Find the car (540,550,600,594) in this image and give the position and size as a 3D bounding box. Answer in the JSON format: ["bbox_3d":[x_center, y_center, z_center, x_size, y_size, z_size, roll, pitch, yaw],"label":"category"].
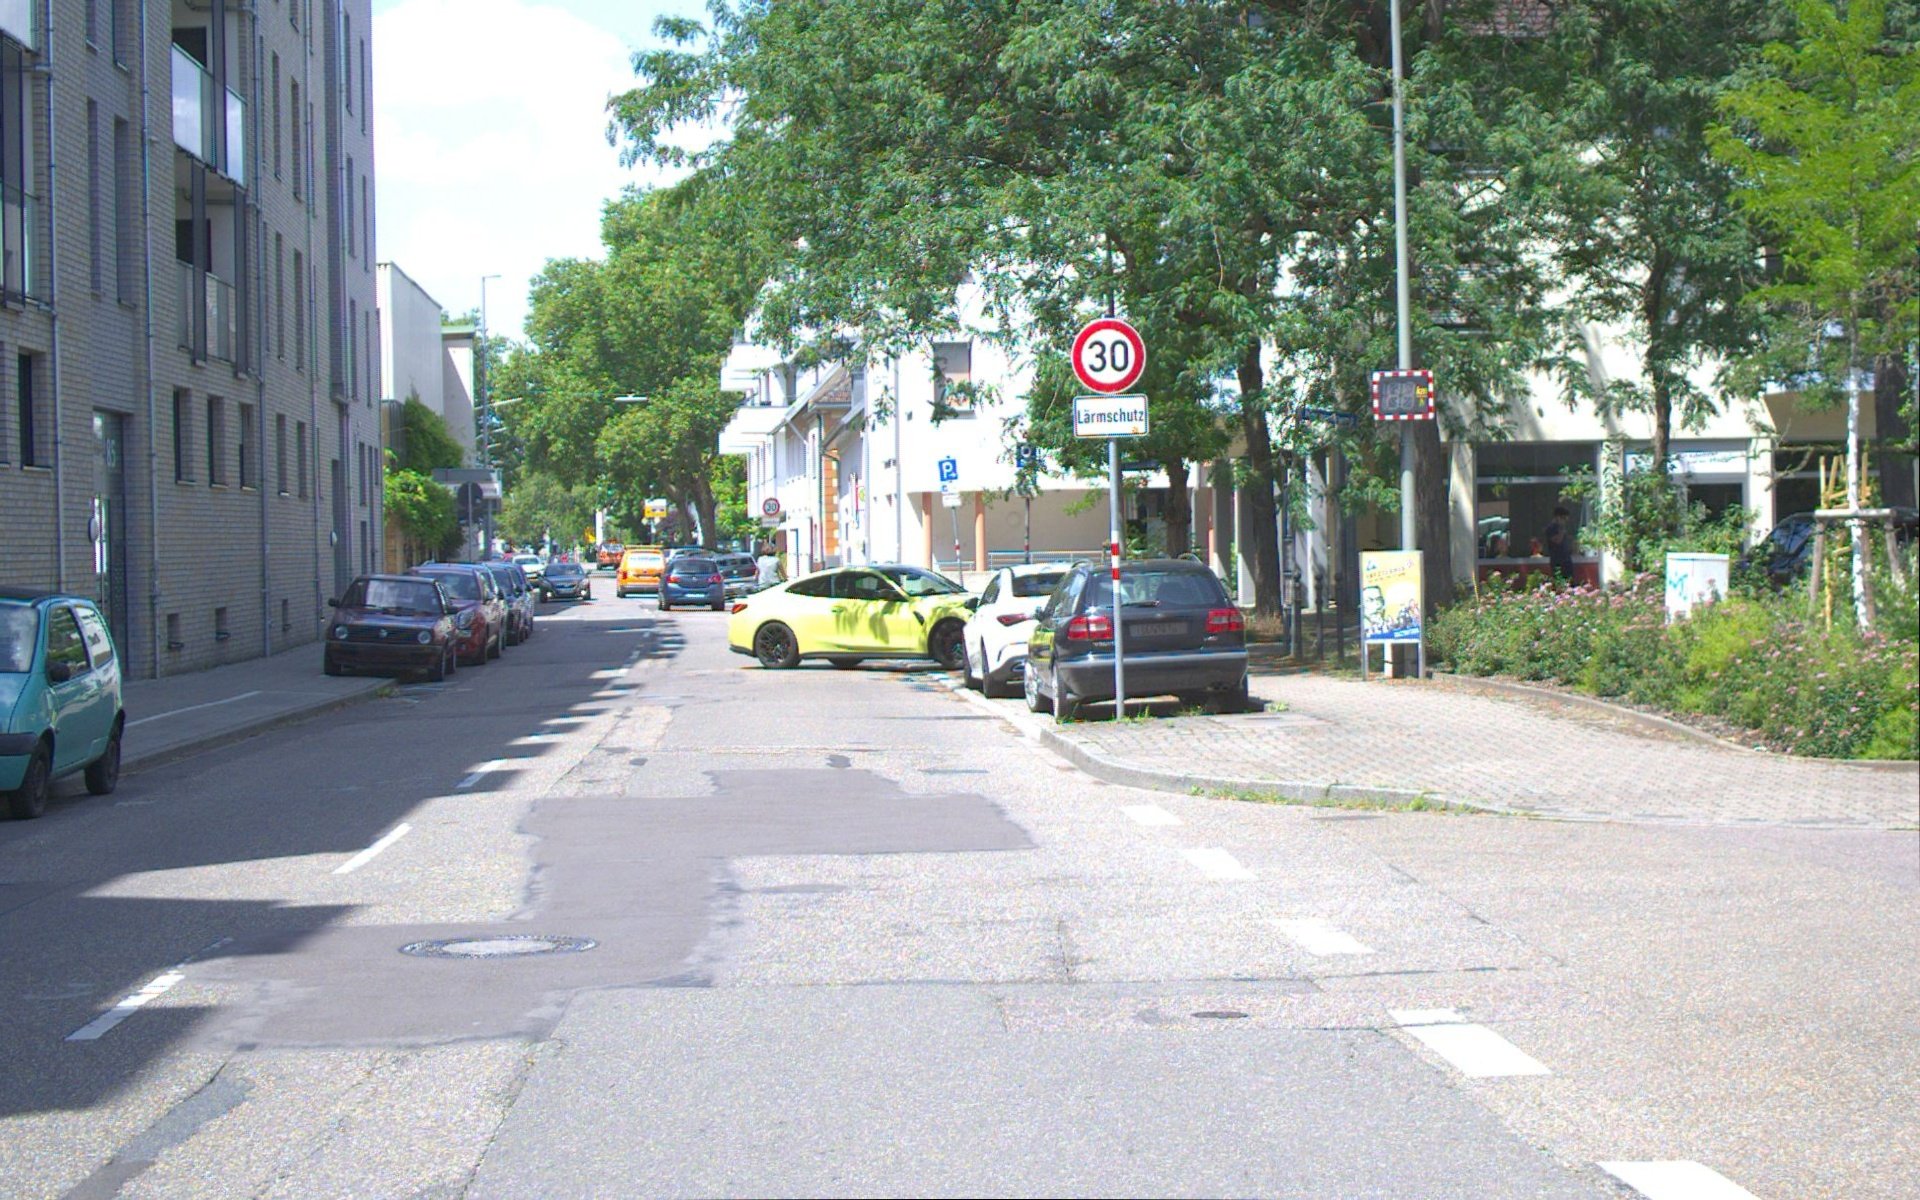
[{"bbox_3d":[-14.079,-1.035,124.279,1.993,1.514,4.001,-1,1,-5],"label":"car"}]

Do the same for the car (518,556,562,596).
[{"bbox_3d":[-21.596,-1.262,176.736,1.993,2.007,4.001,-1,1,-4],"label":"car"}]

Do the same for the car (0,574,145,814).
[{"bbox_3d":[-6.639,0.566,23.155,1.590,1.451,3.704,1,1,-3],"label":"car"}]

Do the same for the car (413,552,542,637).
[{"bbox_3d":[-8.450,-0.121,60.468,1.826,1.415,4.001,1,1,-2],"label":"car"}]

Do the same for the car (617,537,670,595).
[{"bbox_3d":[-11.510,-1.258,125.287,1.838,2.007,4.001,-1,1,-5],"label":"car"}]

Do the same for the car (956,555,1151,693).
[{"bbox_3d":[0.978,0.225,38.078,1.778,1.415,4.001,-1,1,-4],"label":"car"}]

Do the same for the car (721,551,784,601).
[{"bbox_3d":[-6.890,-0.799,113.816,1.993,1.612,4.001,0,1,-4],"label":"car"}]

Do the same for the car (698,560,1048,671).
[{"bbox_3d":[-1.208,0.183,47.052,4.386,1.376,1.996,2,1,31],"label":"car"}]

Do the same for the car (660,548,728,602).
[{"bbox_3d":[-7.288,-0.698,94.445,1.715,1.397,4.001,-1,1,-2],"label":"car"}]

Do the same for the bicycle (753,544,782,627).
[{"bbox_3d":[-3.472,-0.265,61.966,0.477,1.485,0.576,-1,1,-4],"label":"bicycle"}]

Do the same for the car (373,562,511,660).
[{"bbox_3d":[-7.995,0.143,53.331,1.732,1.437,4.001,-1,1,-3],"label":"car"}]

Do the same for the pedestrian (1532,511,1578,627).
[{"bbox_3d":[9.600,-0.505,55.452,0.596,1.853,0.603,-1,1,20],"label":"pedestrian"}]

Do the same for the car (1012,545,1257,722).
[{"bbox_3d":[1.523,0.261,31.347,1.692,1.415,4.001,-3,1,-4],"label":"car"}]

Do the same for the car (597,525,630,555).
[{"bbox_3d":[-23.818,-4.117,235.899,2.156,2.007,4.001,-1,1,-7],"label":"car"}]

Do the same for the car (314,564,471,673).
[{"bbox_3d":[-7.929,0.228,48.302,1.732,1.437,4.001,-1,1,-3],"label":"car"}]

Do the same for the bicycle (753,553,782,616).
[{"bbox_3d":[-3.475,-0.284,61.981,0.483,1.111,1.196,-1,1,-4],"label":"bicycle"}]
